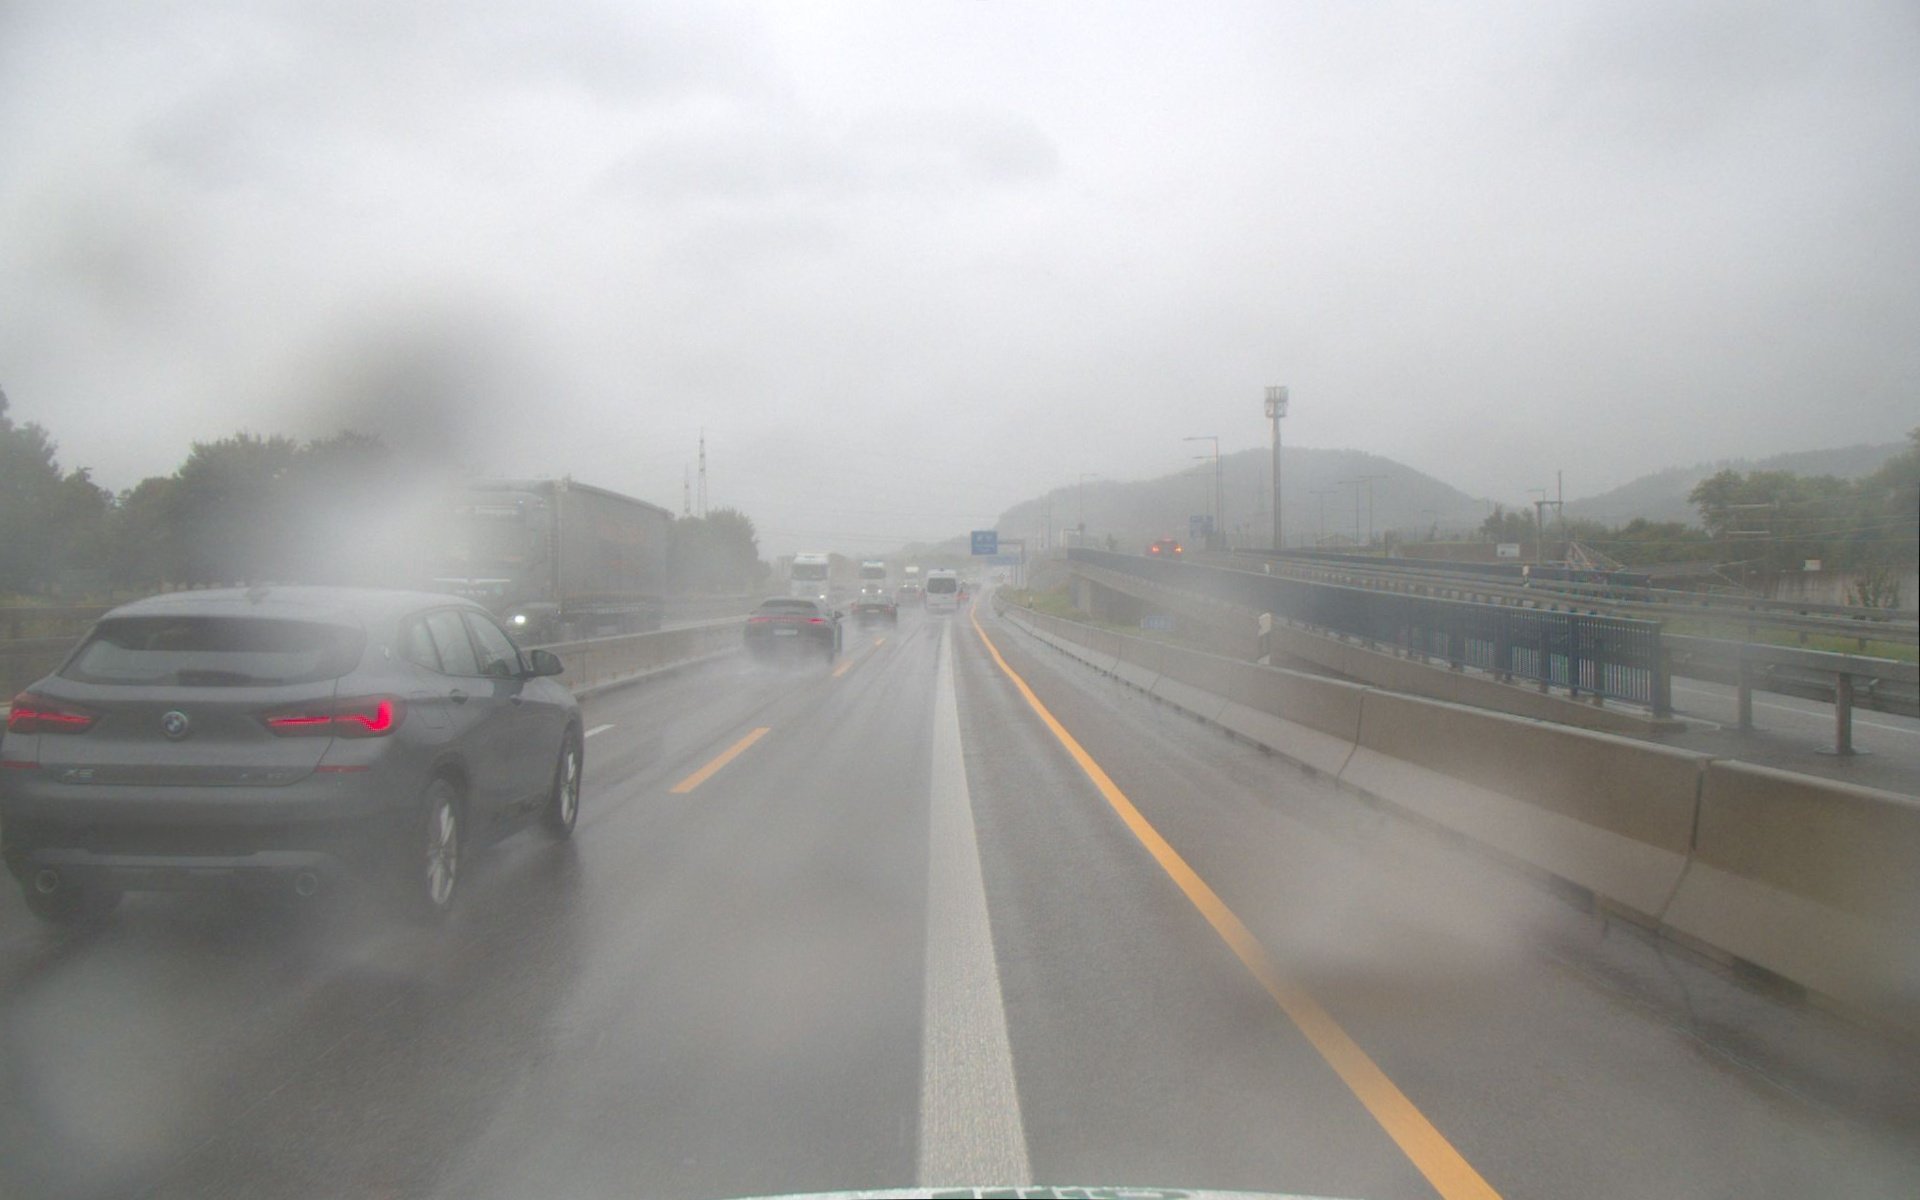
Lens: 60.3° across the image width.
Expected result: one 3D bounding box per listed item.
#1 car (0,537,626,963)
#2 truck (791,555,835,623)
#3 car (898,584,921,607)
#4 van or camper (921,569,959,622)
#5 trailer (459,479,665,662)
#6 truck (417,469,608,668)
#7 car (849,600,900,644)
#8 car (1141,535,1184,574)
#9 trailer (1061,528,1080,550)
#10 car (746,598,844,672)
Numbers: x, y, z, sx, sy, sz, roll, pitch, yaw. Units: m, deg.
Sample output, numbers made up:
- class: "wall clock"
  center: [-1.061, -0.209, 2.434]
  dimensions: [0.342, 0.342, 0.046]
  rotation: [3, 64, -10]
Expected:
- class: "car"
  center: [-3.053, 0.579, 8.781]
  dimensions: [1.666, 1.626, 4.844]
  rotation: [1, 0, -1]
- class: "truck"
  center: [-10.177, -0.689, 114.931]
  dimensions: [2.451, 4.541, 6.880]
  rotation: [1, -1, -1]
- class: "car"
  center: [-3.595, -0.302, 117.852]
  dimensions: [1.535, 1.506, 2.821]
  rotation: [-2, -1, -1]
- class: "van or camper"
  center: [-1.103, -0.215, 90.190]
  dimensions: [1.956, 2.826, 4.048]
  rotation: [1, -1, -1]
- class: "trailer"
  center: [-10.250, -0.622, 44.160]
  dimensions: [2.596, 4.181, 12.312]
  rotation: [1, -1, -1]
- class: "truck"
  center: [-10.191, -0.639, 38.386]
  dimensions: [2.588, 4.199, 6.694]
  rotation: [1, -1, -1]
- class: "car"
  center: [-3.303, 0.843, 64.402]
  dimensions: [1.807, 1.517, 4.261]
  rotation: [-2, 1, -1]
- class: "car"
  center: [12.088, -2.695, 98.903]
  dimensions: [1.953, 2.180, 3.999]
  rotation: [1, -1, -1]
- class: "trailer"
  center: [13.988, -7.645, 210.085]
  dimensions: [1.952, 2.143, 13.771]
  rotation: [1, -1, 2]
- class: "car"
  center: [-3.589, 0.751, 36.639]
  dimensions: [1.807, 1.517, 4.260]
  rotation: [1, -1, -1]
